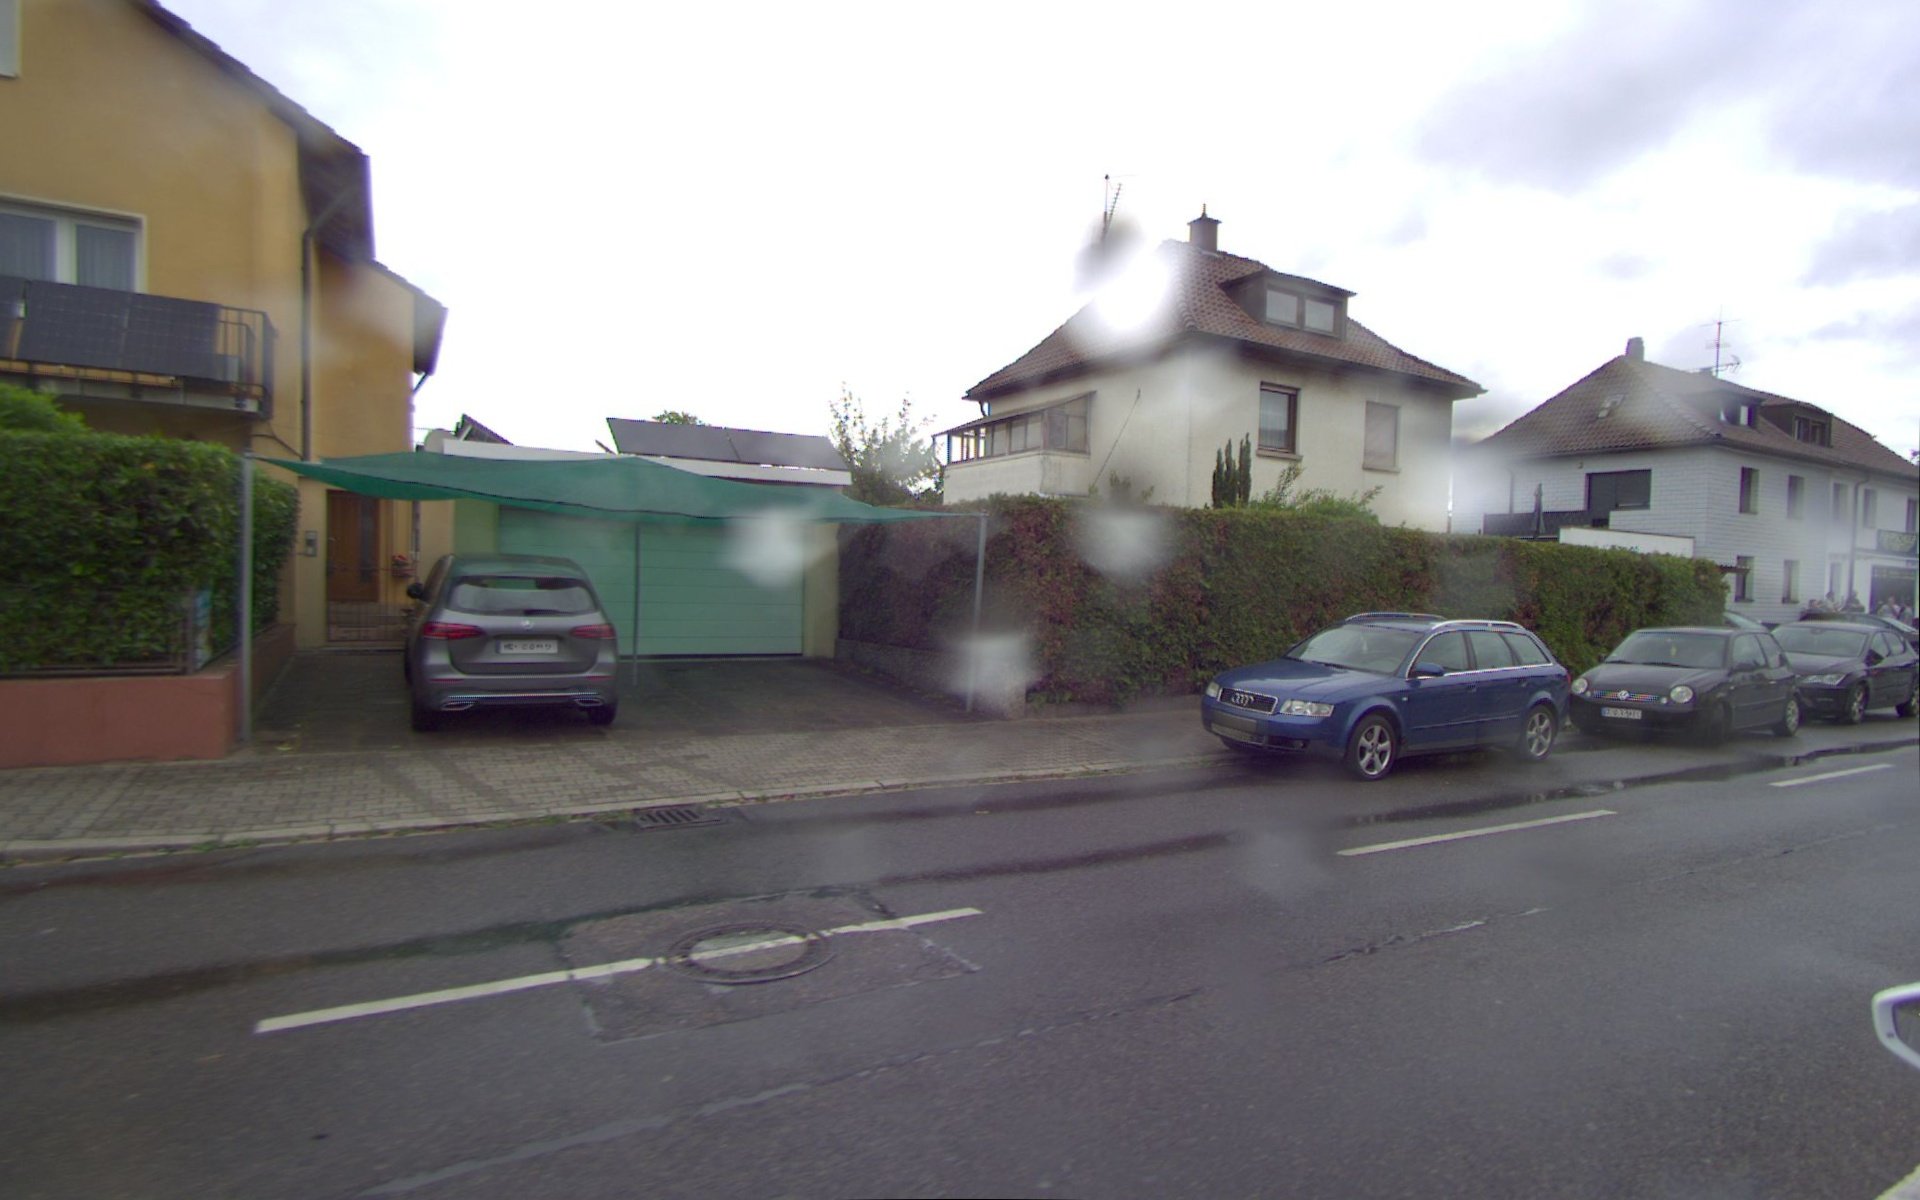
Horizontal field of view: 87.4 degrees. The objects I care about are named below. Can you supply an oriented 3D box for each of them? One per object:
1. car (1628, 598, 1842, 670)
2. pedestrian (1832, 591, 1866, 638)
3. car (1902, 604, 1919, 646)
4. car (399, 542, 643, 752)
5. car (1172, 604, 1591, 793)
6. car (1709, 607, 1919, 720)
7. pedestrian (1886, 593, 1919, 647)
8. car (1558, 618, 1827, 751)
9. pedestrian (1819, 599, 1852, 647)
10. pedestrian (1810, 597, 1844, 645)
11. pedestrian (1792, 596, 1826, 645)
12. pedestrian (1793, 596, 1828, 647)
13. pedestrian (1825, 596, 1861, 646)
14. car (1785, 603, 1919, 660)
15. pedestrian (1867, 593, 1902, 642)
[{"bbox_3d":[19.928,0.824,26.007,1.834,1.536,3.968,1,2,-29],"label":"car"},{"bbox_3d":[32.620,0.533,36.858,0.641,1.688,0.598,1,4,-25],"label":"pedestrian"},{"bbox_3d":[36.923,1.098,36.073,1.834,1.536,4.053,1,4,-29],"label":"car"},{"bbox_3d":[-4.667,0.313,10.380,1.895,1.635,3.942,1,3,-29],"label":"car"},{"bbox_3d":[4.390,0.880,10.310,4.236,1.553,1.749,1,1,-30],"label":"car"},{"bbox_3d":[13.945,0.955,16.128,4.164,1.553,1.746,1,1,-34],"label":"car"},{"bbox_3d":[32.671,0.701,34.828,0.643,1.815,0.596,0,4,-35],"label":"pedestrian"},{"bbox_3d":[9.640,1.011,13.134,3.972,1.450,1.541,1,1,-34],"label":"car"},{"bbox_3d":[31.707,0.847,36.381,0.641,1.688,0.598,1,4,-25],"label":"pedestrian"},{"bbox_3d":[30.998,0.752,35.913,0.641,1.688,0.598,1,4,-25],"label":"pedestrian"},{"bbox_3d":[29.718,0.719,35.161,0.641,1.688,0.598,1,4,-25],"label":"pedestrian"},{"bbox_3d":[29.152,0.723,34.421,0.641,1.688,0.598,1,4,-25],"label":"pedestrian"},{"bbox_3d":[30.557,0.714,34.759,0.641,1.688,0.598,1,4,-25],"label":"pedestrian"},{"bbox_3d":[28.431,0.963,31.077,1.834,1.536,4.053,1,2,-29],"label":"car"},{"bbox_3d":[32.969,0.617,35.828,0.640,1.688,0.599,1,4,-22],"label":"pedestrian"}]
